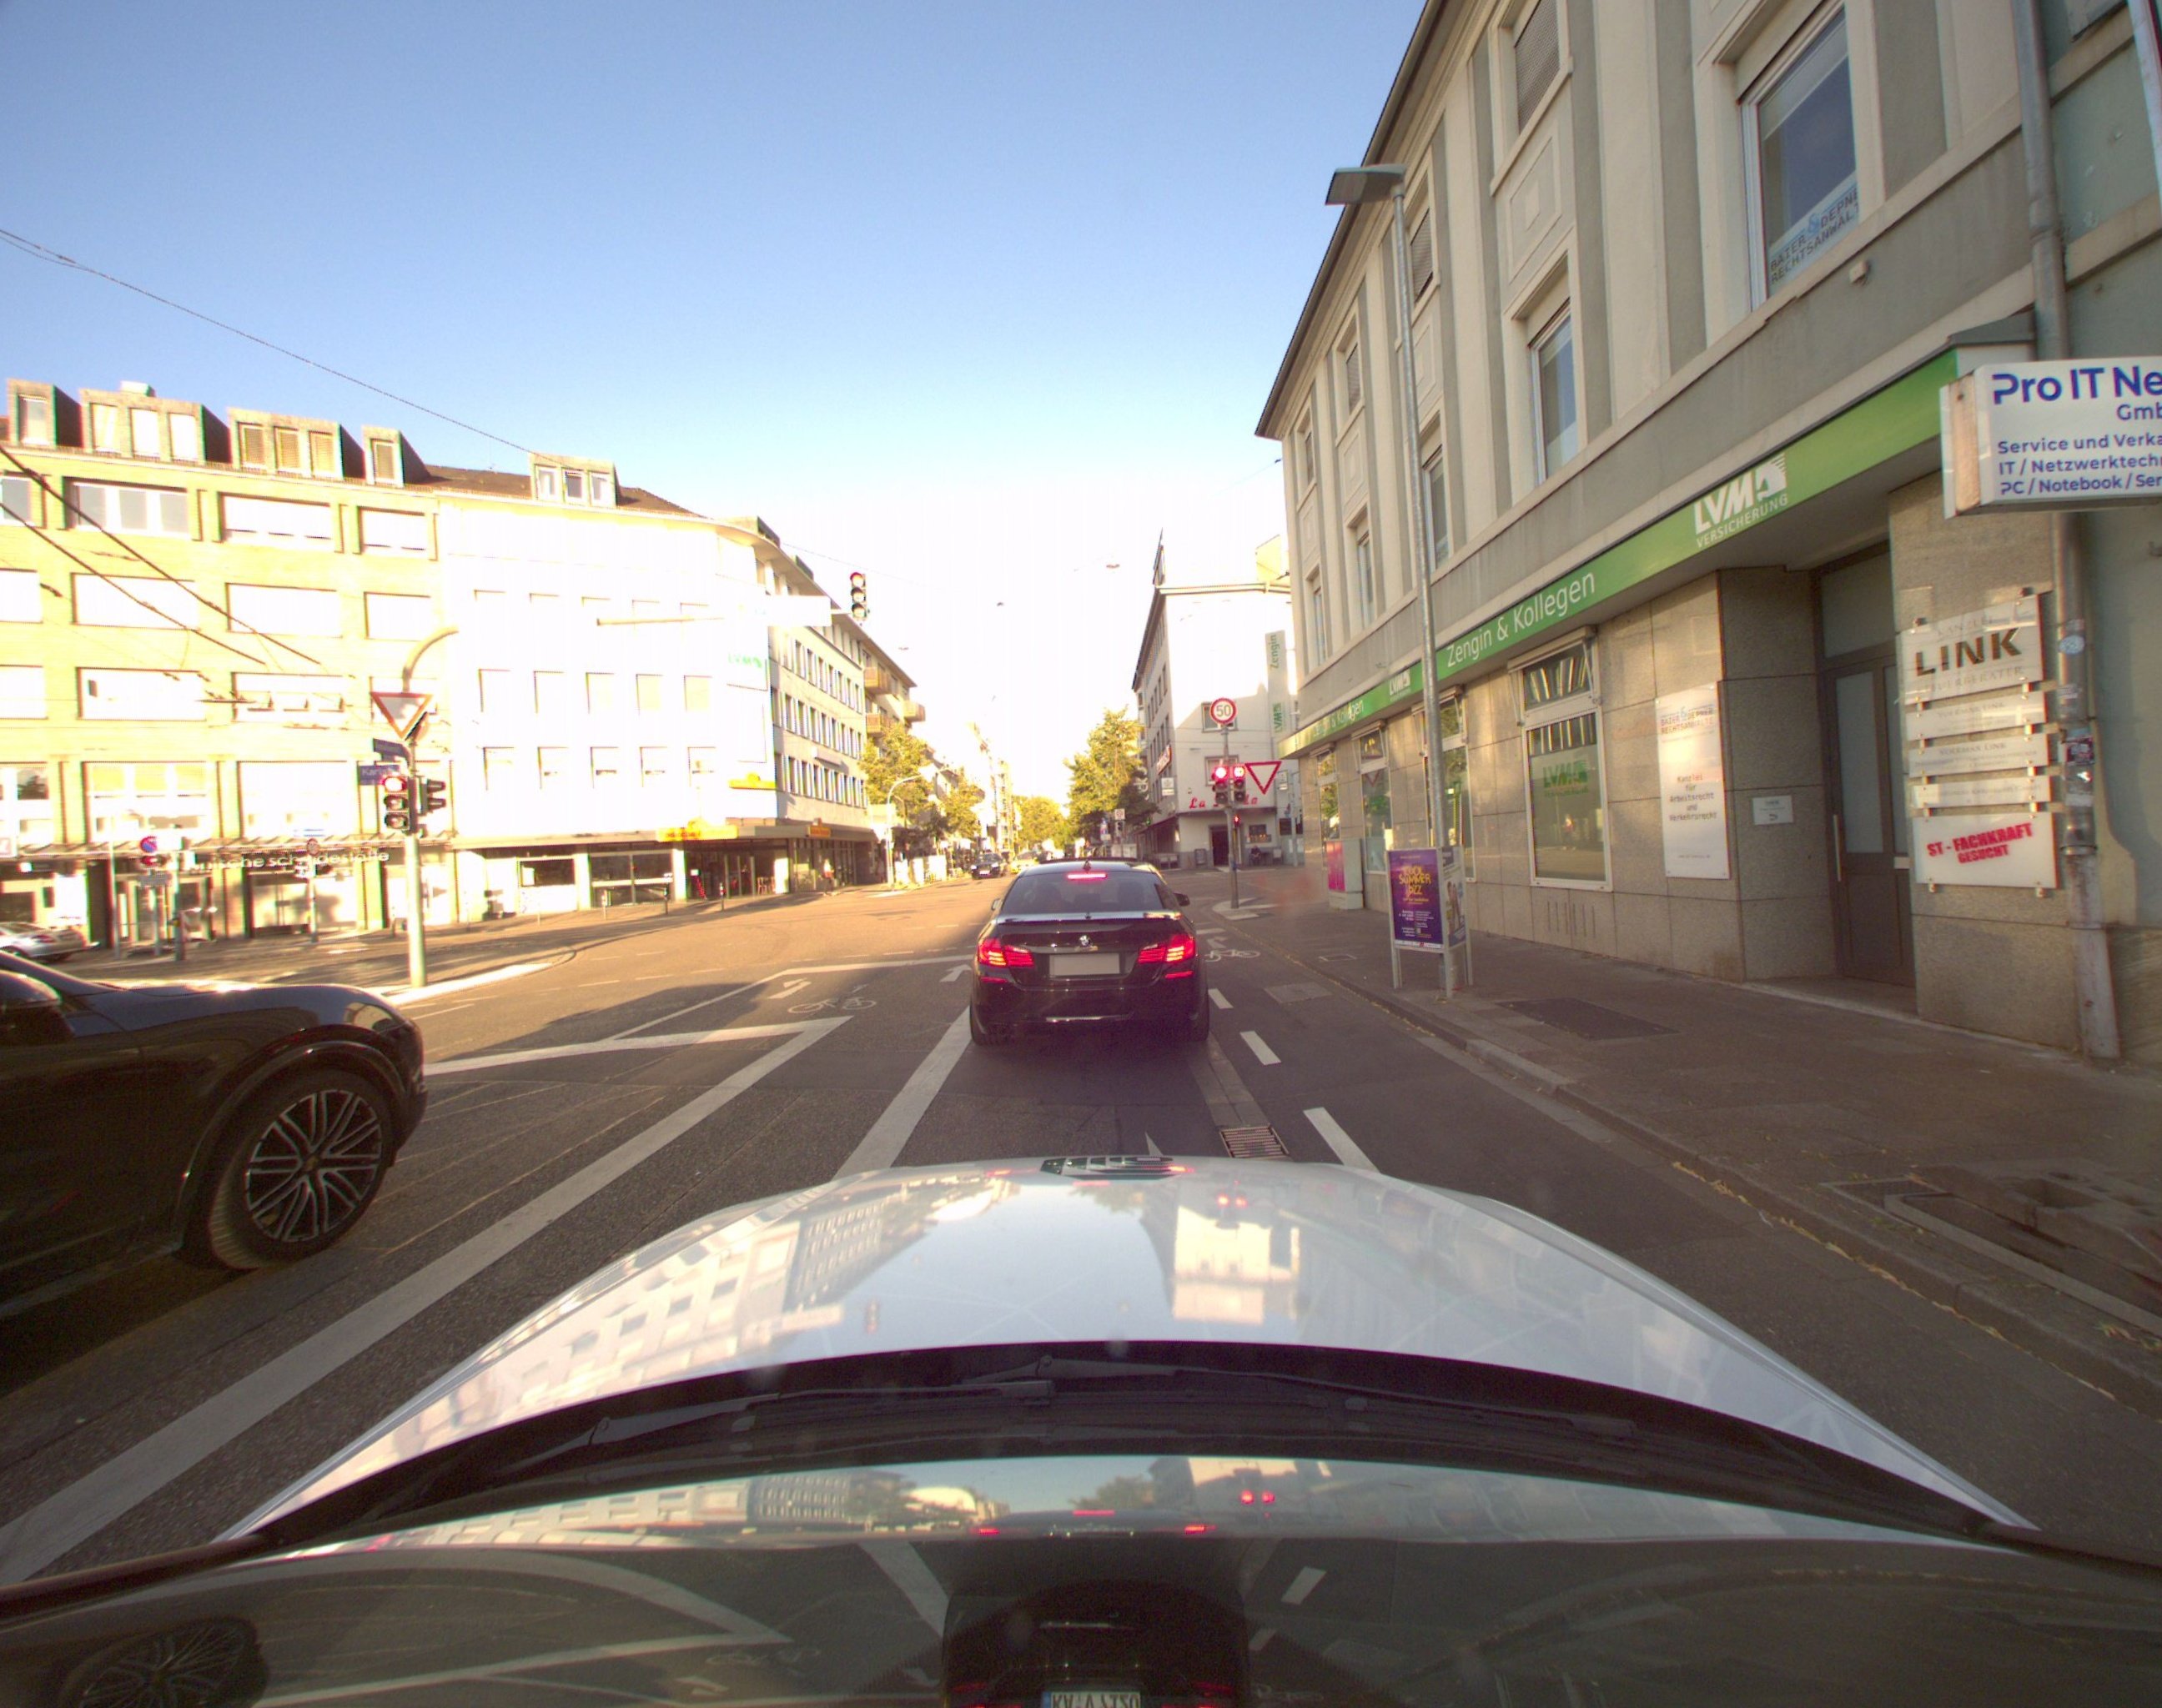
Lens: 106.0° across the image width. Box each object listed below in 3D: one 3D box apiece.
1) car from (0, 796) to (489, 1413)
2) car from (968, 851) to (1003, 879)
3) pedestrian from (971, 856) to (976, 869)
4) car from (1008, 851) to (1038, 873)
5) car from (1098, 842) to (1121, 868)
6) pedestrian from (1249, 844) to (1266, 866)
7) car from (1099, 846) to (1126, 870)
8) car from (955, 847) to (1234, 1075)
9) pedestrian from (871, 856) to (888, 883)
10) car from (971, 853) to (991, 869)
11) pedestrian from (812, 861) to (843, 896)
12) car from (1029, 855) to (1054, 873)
[{"bbox_3d":[-4.008,0.758,1.828,1.943,1.714,4.560,-4,0,-1],"label":"car"},{"bbox_3d":[-6.127,0.685,52.540,1.990,1.618,3.993,-3,0,-5],"label":"car"},{"bbox_3d":[-11.790,0.904,89.283,0.443,1.416,0.525,-3,0,-2],"label":"pedestrian"},{"bbox_3d":[-4.155,0.554,57.935,1.990,1.442,3.993,-3,0,-5],"label":"car"},{"bbox_3d":[2.130,0.084,61.115,1.417,1.854,3.050,-2,0,-2],"label":"car"},{"bbox_3d":[10.014,0.049,46.235,0.695,1.157,0.843,-3,0,-1],"label":"pedestrian"},{"bbox_3d":[2.103,0.266,54.711,1.620,1.471,3.394,-2,0,0],"label":"car"},{"bbox_3d":[0.079,0.711,7.765,1.898,1.540,4.448,0,0,-1],"label":"car"},{"bbox_3d":[-13.213,1.006,53.406,0.821,1.676,0.871,-3,0,-1],"label":"pedestrian"},{"bbox_3d":[-9.750,0.667,79.430,1.731,1.461,3.993,-3,0,-5],"label":"car"},{"bbox_3d":[-11.553,1.121,37.089,0.954,1.537,0.897,-3,0,-44],"label":"pedestrian"},{"bbox_3d":[-3.180,0.773,64.683,1.731,1.293,3.993,-3,0,-5],"label":"car"}]
